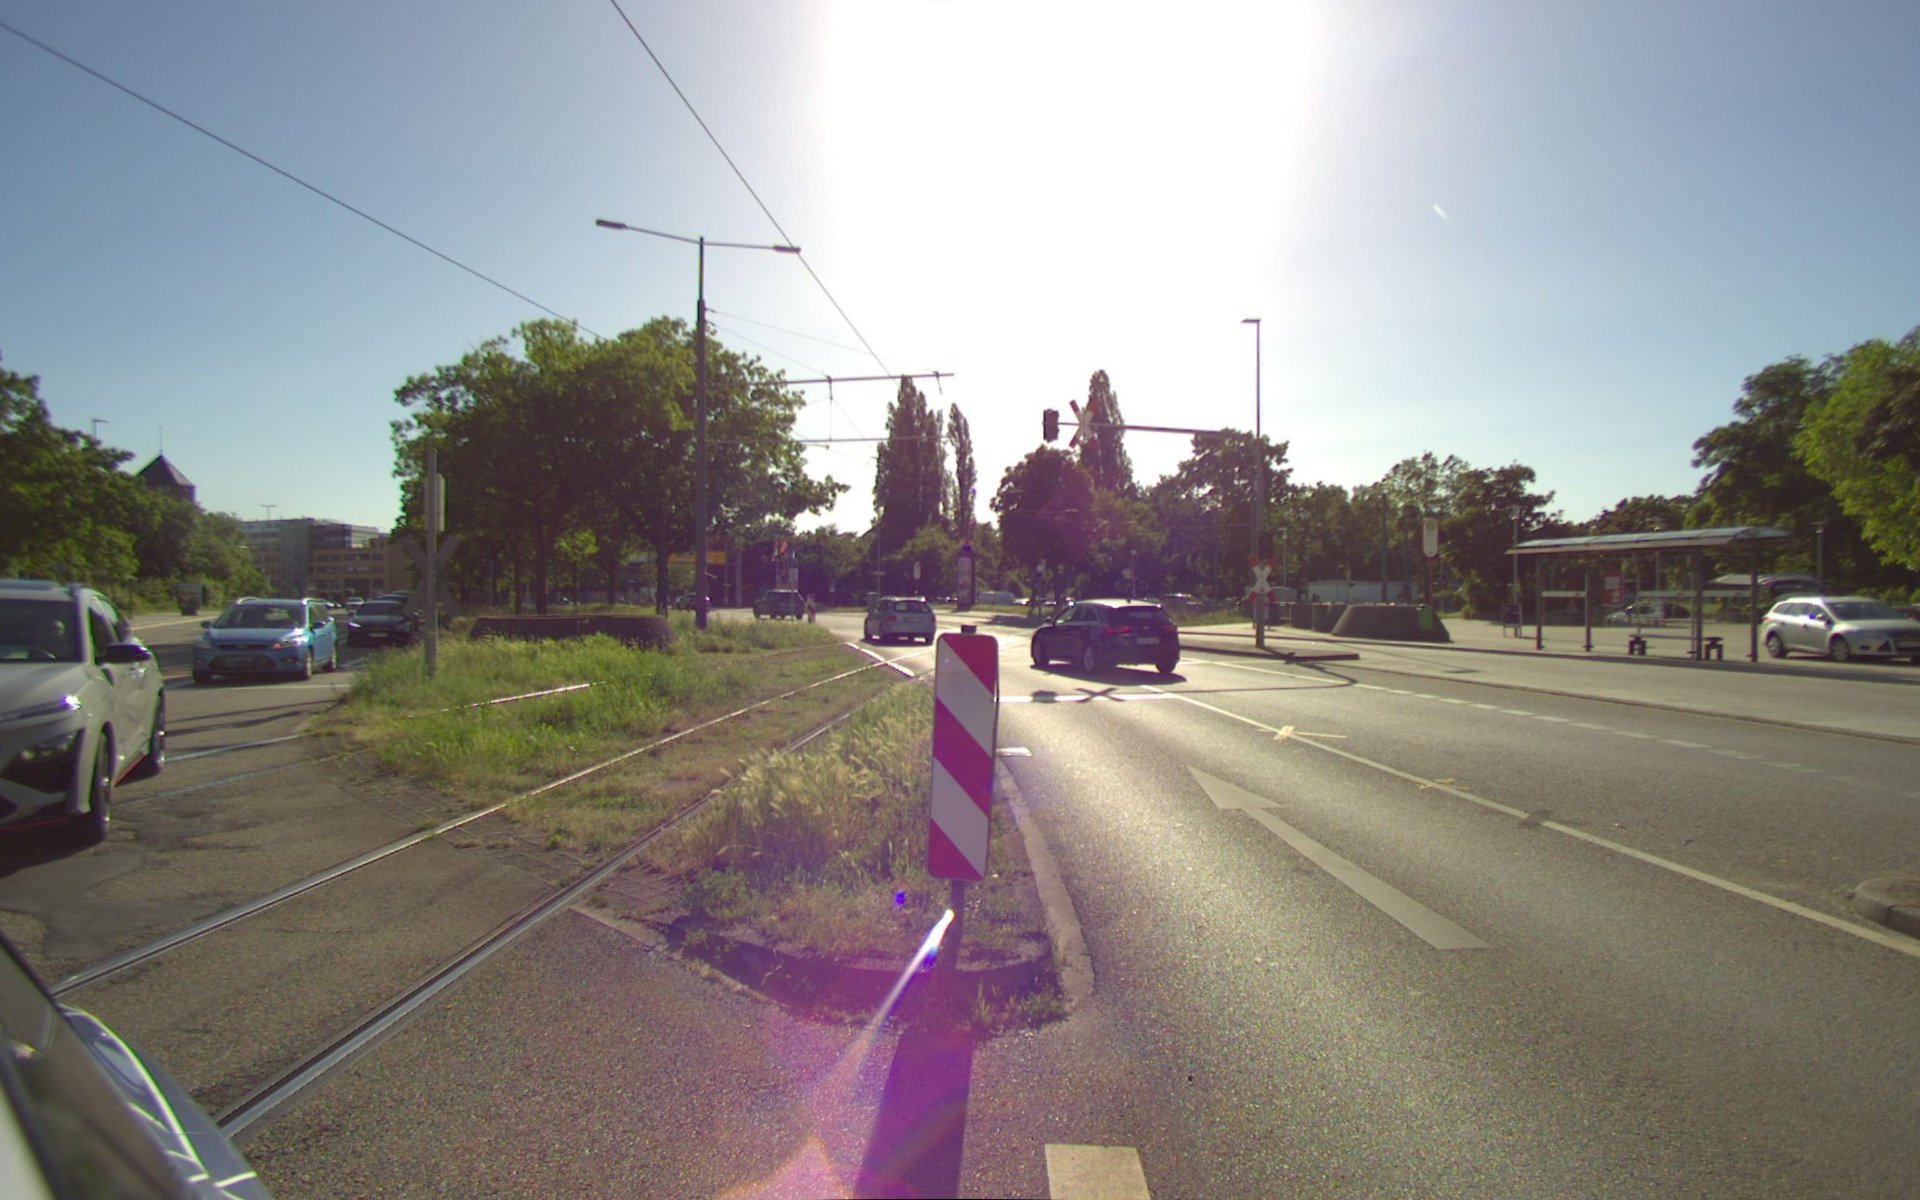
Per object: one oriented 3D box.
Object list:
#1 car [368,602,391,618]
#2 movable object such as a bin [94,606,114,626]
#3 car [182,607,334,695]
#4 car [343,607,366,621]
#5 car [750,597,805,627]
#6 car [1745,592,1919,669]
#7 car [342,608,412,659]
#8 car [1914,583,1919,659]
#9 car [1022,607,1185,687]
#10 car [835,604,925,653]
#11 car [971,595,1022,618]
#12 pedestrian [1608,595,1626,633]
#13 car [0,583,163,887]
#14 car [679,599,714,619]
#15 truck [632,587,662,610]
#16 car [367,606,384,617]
[{"bbox_3d":[-57.189,0.942,99.727,1.799,1.484,4.013,-1,0,-27],"label":"car"},{"bbox_3d":[-45.366,0.855,53.657,0.716,1.038,0.580,0,0,-30],"label":"movable object such as a bin"},{"bbox_3d":[-13.291,0.882,19.397,1.682,1.475,4.013,0,0,-24],"label":"car"},{"bbox_3d":[-65.720,1.490,109.878,1.966,1.544,4.012,0,0,-30],"label":"car"},{"bbox_3d":[-10.485,0.668,58.034,1.728,1.626,4.738,-1,0,-28],"label":"car"},{"bbox_3d":[20.694,0.638,23.676,1.854,1.555,4.530,-3,0,13],"label":"car"},{"bbox_3d":[-19.094,1.045,33.270,1.650,1.519,3.962,0,0,-25],"label":"car"},{"bbox_3d":[22.873,0.409,21.212,1.738,1.730,4.002,-3,0,-3],"label":"car"},{"bbox_3d":[2.783,0.870,20.615,1.637,1.402,4.162,0,0,-18],"label":"car"},{"bbox_3d":[-2.751,0.880,33.559,1.705,1.453,4.898,-2,0,-20],"label":"car"},{"bbox_3d":[3.310,0.538,90.270,2.234,2.029,4.941,0,0,35],"label":"car"},{"bbox_3d":[32.030,0.662,49.322,0.716,1.843,0.560,-1,0,-44],"label":"pedestrian"},{"bbox_3d":[-6.539,0.703,6.543,1.751,1.563,3.991,0,0,-32],"label":"car"},{"bbox_3d":[-21.469,0.693,82.339,1.965,1.574,4.401,-1,0,-25],"label":"car"},{"bbox_3d":[-35.455,-0.173,114.544,1.765,2.445,4.117,-1,0,-39],"label":"truck"},{"bbox_3d":[-77.620,1.511,134.399,1.966,1.544,4.012,0,0,-30],"label":"car"}]
